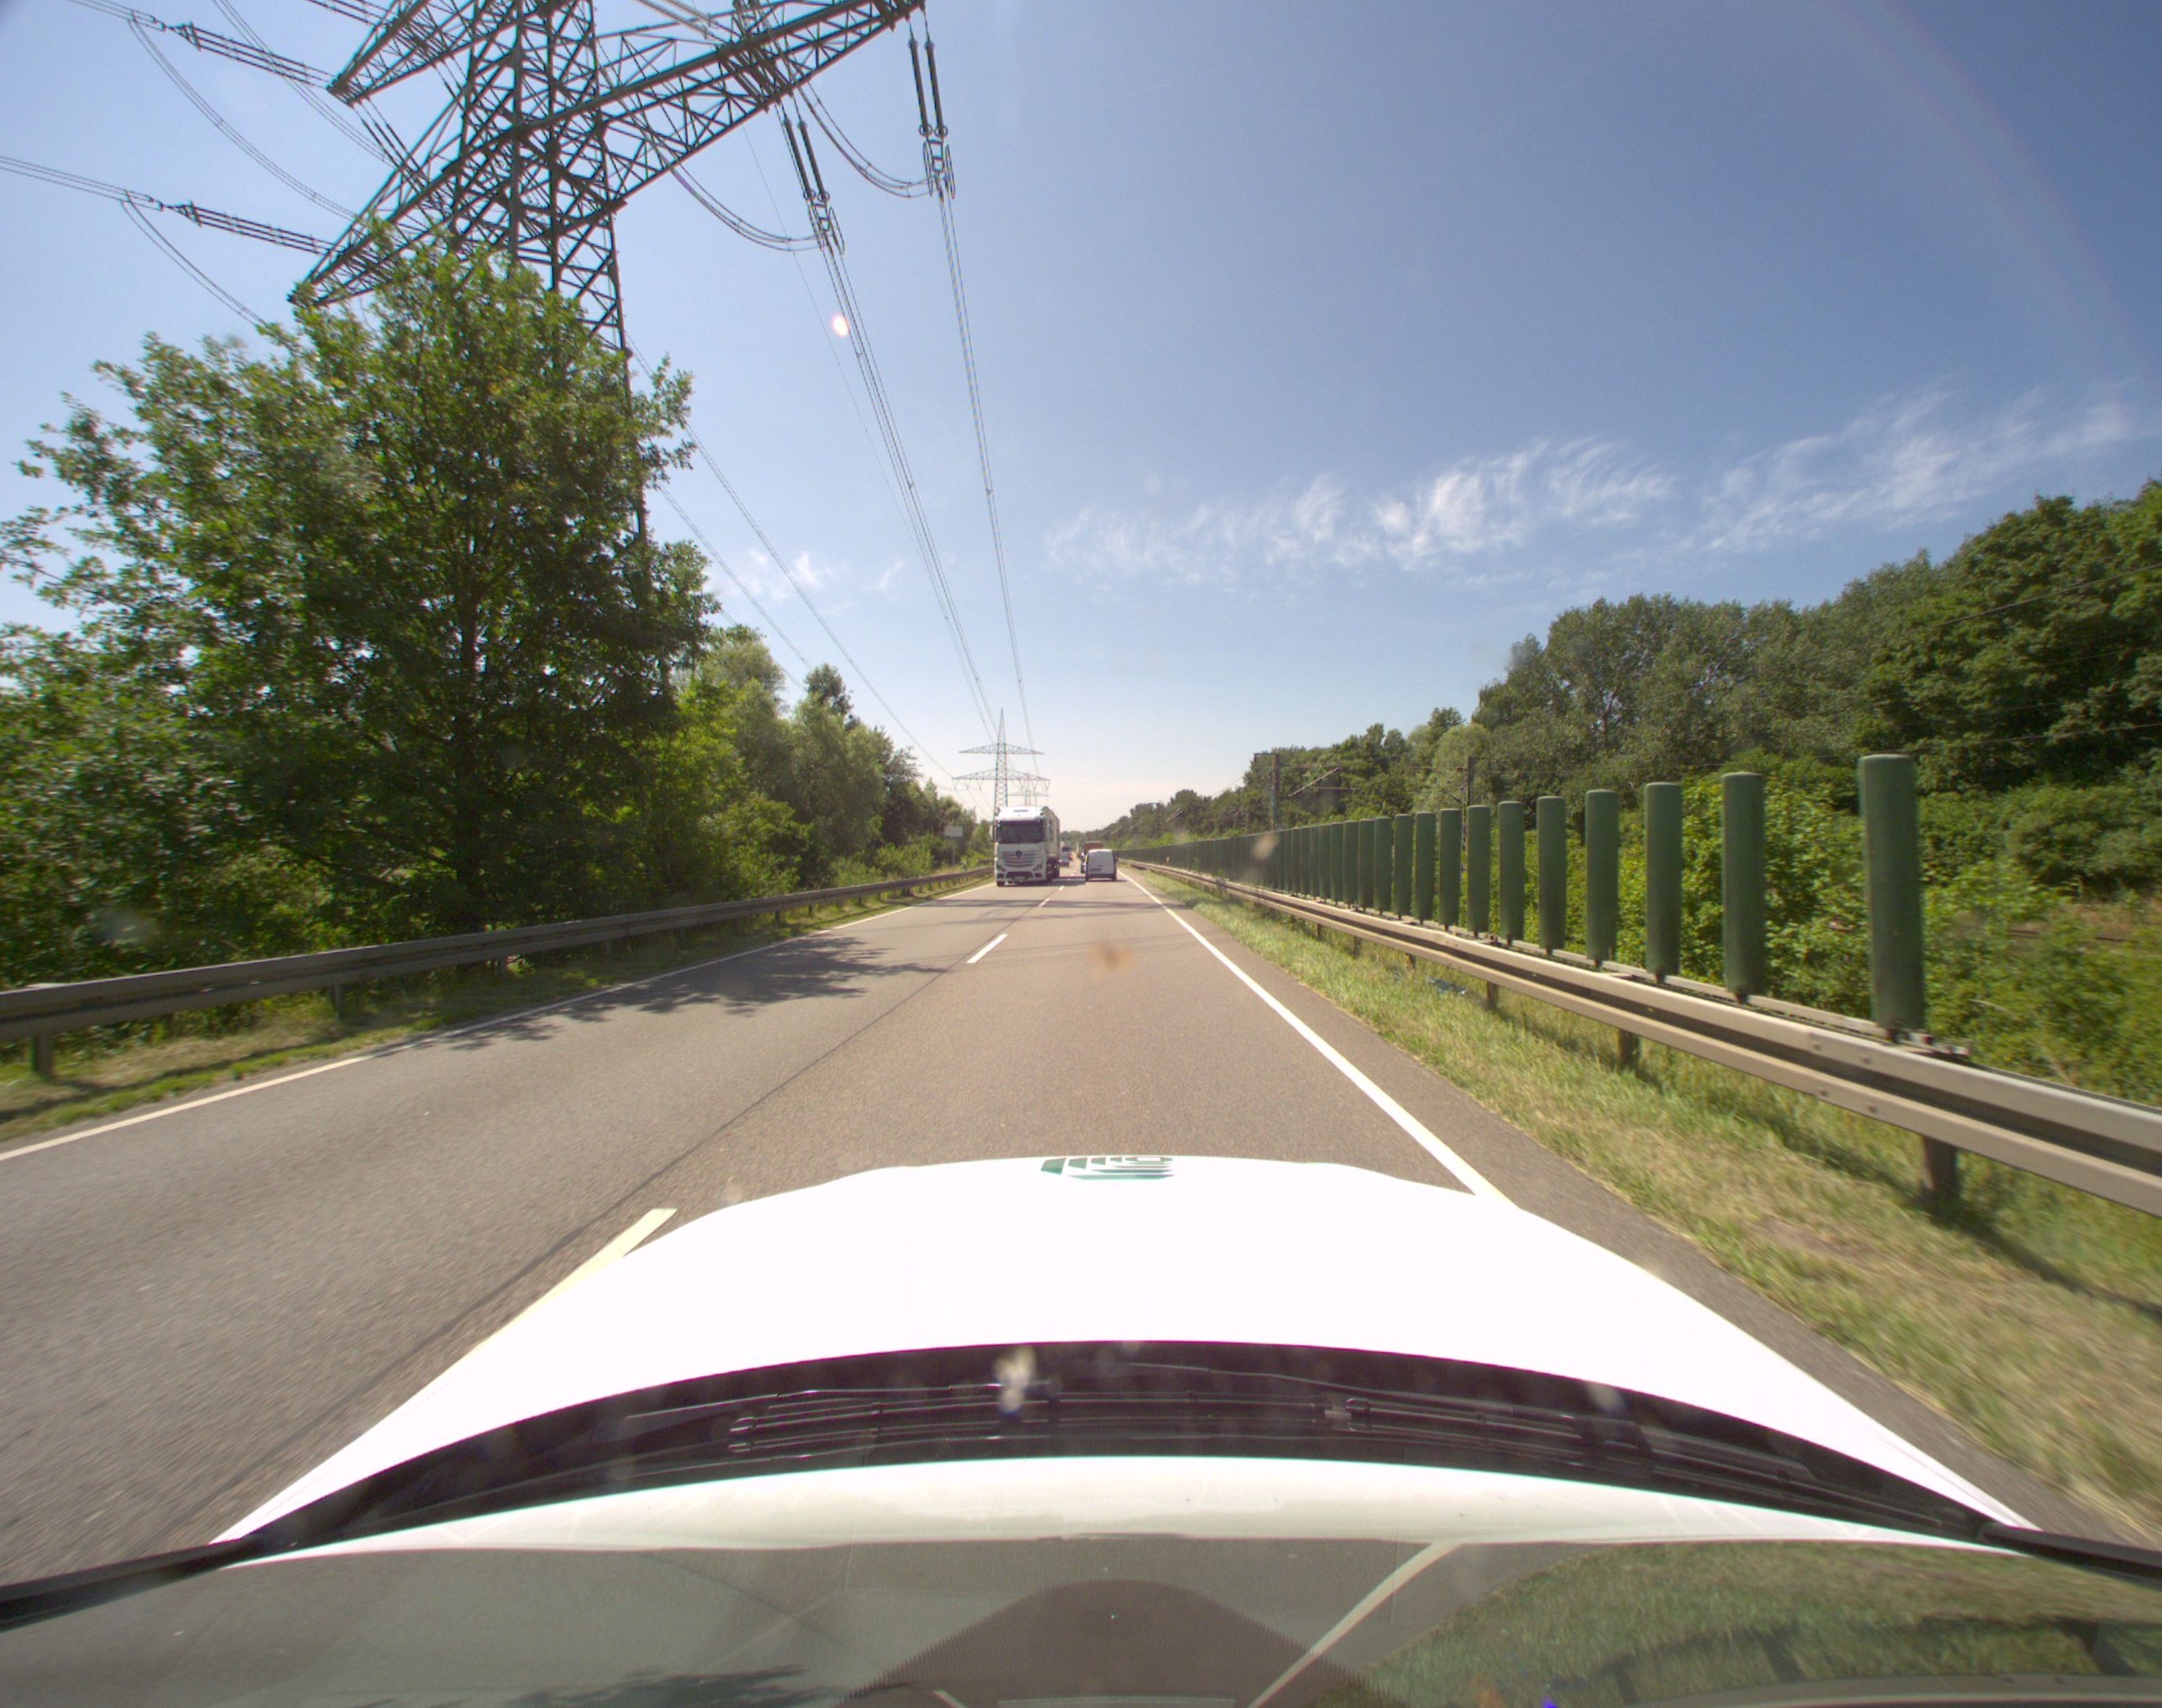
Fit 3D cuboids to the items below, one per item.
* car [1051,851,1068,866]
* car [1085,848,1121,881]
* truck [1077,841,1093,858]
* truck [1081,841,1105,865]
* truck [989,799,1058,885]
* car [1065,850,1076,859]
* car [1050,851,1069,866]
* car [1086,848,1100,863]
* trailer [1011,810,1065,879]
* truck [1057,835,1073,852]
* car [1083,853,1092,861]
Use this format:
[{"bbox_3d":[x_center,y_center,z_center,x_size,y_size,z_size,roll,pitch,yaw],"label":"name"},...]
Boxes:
[{"bbox_3d":[-2.506,0.494,96.147,1.987,1.741,3.999,0,0,-1],"label":"car"},{"bbox_3d":[1.211,0.572,46.163,1.869,1.741,3.999,0,0,-1],"label":"car"},{"bbox_3d":[0.932,-1.233,203.626,3.392,3.854,16.813,2,1,-1],"label":"truck"},{"bbox_3d":[1.704,-0.305,120.774,3.286,3.171,14.405,2,1,0],"label":"truck"},{"bbox_3d":[-2.888,-0.584,43.941,2.733,4.042,9.666,-1,0,1],"label":"truck"},{"bbox_3d":[-1.971,0.062,151.509,1.986,1.526,4.001,-1,0,1],"label":"car"},{"bbox_3d":[-2.499,0.504,96.171,1.986,1.741,4.001,-1,0,1],"label":"car"},{"bbox_3d":[1.596,0.204,109.320,1.757,2.013,4.000,2,0,0],"label":"car"},{"bbox_3d":[-2.667,-0.595,53.349,2.709,4.042,9.077,-1,0,1],"label":"trailer"},{"bbox_3d":[-3.780,-2.542,195.931,3.391,3.854,16.819,2,1,0],"label":"truck"},{"bbox_3d":[1.357,0.600,171.364,1.986,1.526,4.001,-1,0,1],"label":"car"}]
